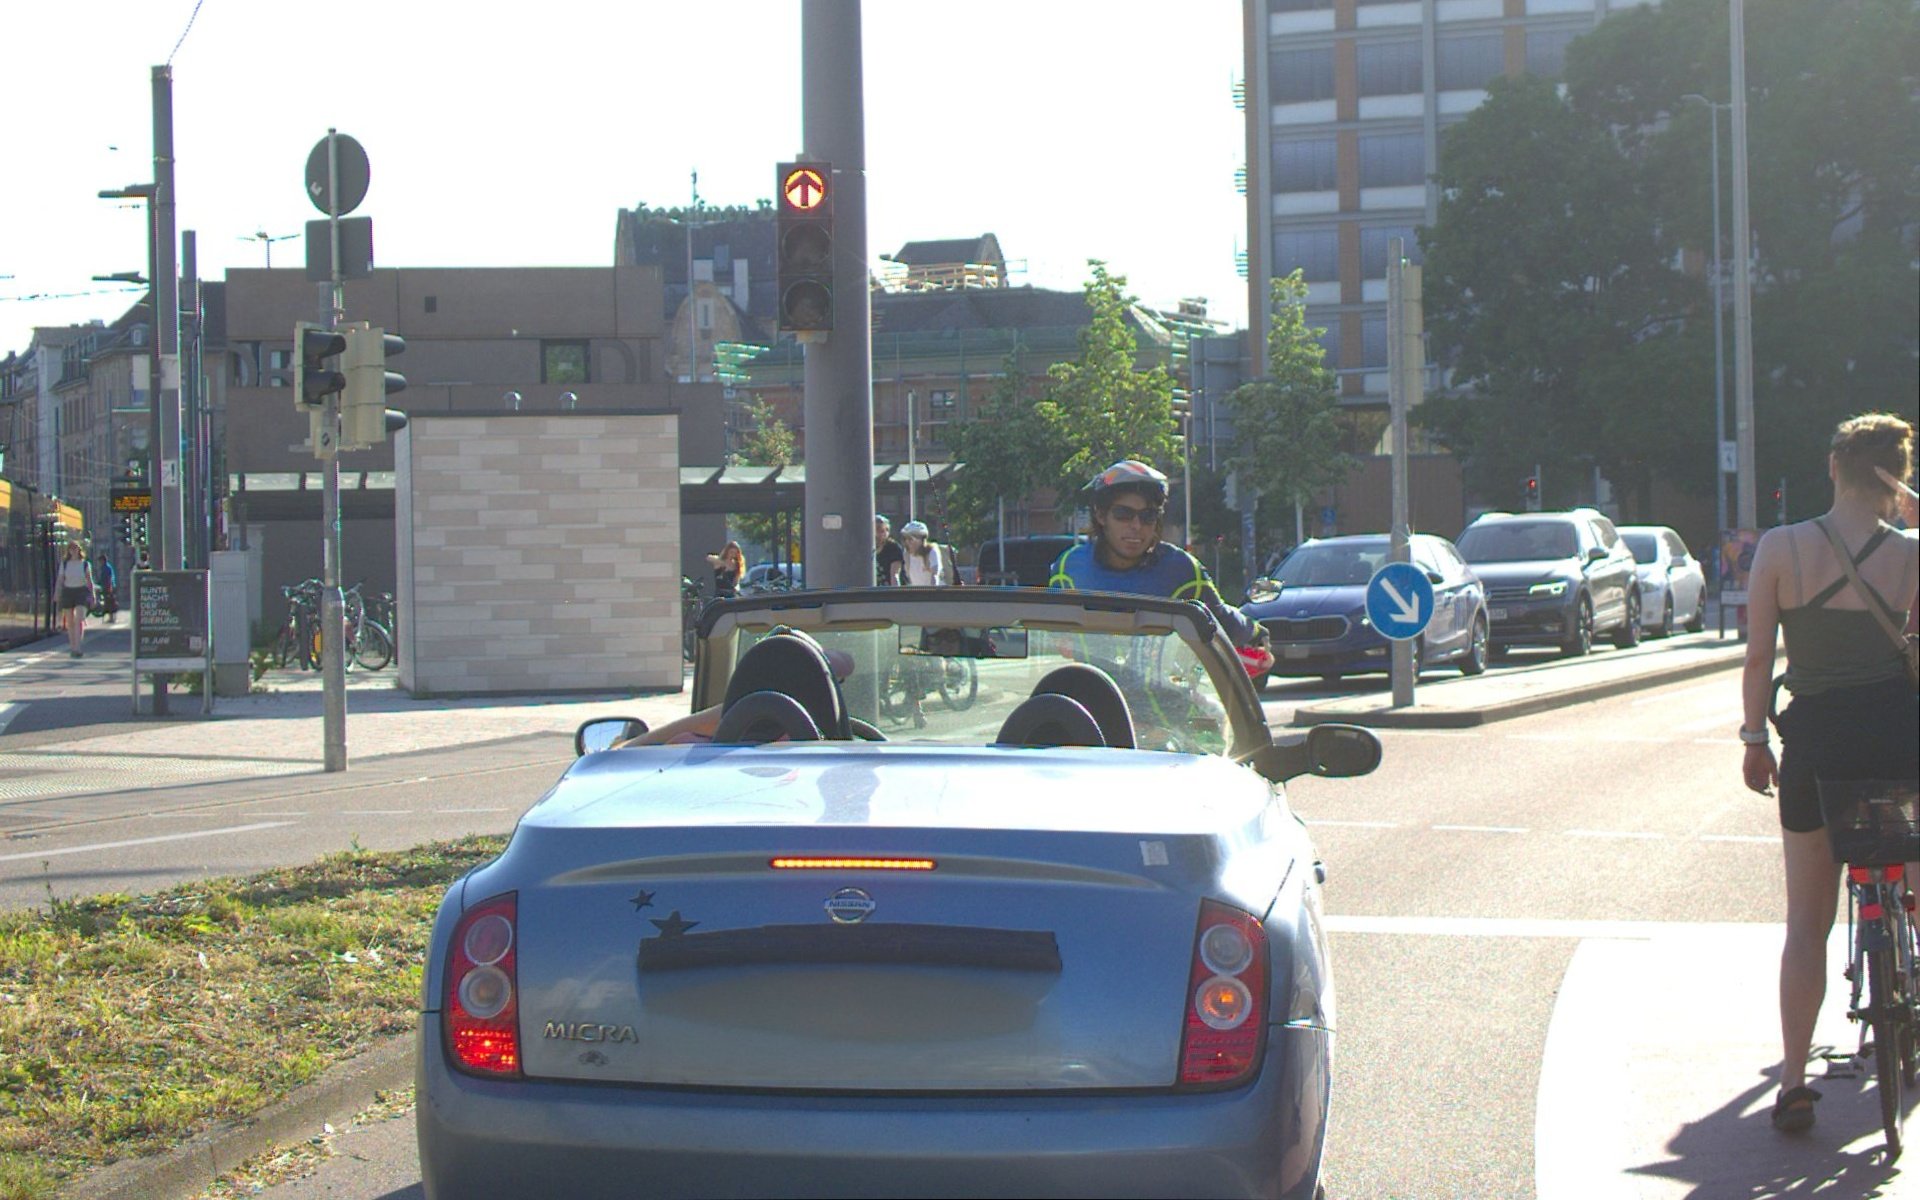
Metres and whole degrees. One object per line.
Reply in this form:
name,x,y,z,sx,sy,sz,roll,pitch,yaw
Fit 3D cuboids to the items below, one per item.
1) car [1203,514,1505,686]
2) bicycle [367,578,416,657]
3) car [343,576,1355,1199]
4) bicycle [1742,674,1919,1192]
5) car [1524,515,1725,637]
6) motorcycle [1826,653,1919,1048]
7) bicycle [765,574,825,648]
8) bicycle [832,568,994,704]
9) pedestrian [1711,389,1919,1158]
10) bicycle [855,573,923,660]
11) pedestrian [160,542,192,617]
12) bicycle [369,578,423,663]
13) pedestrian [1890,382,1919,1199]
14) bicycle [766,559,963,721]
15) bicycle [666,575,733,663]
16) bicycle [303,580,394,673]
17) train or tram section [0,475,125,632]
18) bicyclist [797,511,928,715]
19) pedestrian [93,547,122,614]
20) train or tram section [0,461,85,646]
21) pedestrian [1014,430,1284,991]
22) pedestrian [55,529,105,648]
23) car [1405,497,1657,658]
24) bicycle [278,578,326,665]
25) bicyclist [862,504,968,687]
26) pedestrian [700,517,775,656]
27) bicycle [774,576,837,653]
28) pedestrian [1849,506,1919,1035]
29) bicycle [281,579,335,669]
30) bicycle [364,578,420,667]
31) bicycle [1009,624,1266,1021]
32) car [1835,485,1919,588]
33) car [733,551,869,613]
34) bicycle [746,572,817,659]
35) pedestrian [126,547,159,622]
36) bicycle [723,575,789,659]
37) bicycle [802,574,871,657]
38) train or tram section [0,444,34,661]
car,3.914,-0.013,33.633,1.739,1.568,3.919,1,1,25
bicycle,-8.331,0.245,50.338,0.606,1.111,1.897,1,1,-12
car,0.032,0.678,7.692,1.660,1.436,4.153,1,1,6
bicycle,2.367,0.798,8.976,0.564,1.147,1.948,1,1,14
car,9.000,-0.347,46.329,1.697,1.555,3.974,-1,1,25
motorcycle,3.172,0.746,11.079,0.614,1.094,2.358,1,1,17
bicycle,-2.562,0.162,53.242,0.606,1.111,1.897,1,1,-12
bicycle,-0.408,0.311,31.465,0.675,1.176,2.181,-1,1,22
pedestrian,2.286,0.415,8.784,0.659,1.862,0.872,1,0,15
bicycle,-0.947,0.208,45.566,0.606,1.111,1.897,1,1,-10
pedestrian,-18.590,-0.487,81.509,0.637,1.743,0.736,-1,1,-19
bicycle,-7.629,0.267,46.464,0.606,1.111,1.897,1,1,-12
pedestrian,2.488,0.457,7.397,0.806,1.862,0.956,1,0,8
bicycle,-0.774,0.314,28.852,0.675,1.246,2.454,-3,0,22
bicycle,-3.431,0.237,45.122,0.606,1.111,1.897,1,1,-12
bicycle,-7.546,0.318,42.465,0.607,1.111,1.896,1,1,5
train or tram section,-22.578,-1.139,84.596,3.039,3.584,12.055,1,1,-9
bicyclist,-0.814,0.099,28.780,0.709,1.651,0.900,-3,0,22
pedestrian,-22.296,-0.513,89.925,0.604,1.743,0.832,-1,1,-8
train or tram section,-20.510,-0.991,72.669,3.011,3.584,12.203,1,1,-10
pedestrian,0.673,0.361,11.964,0.833,1.862,0.920,1,0,8
pedestrian,-13.033,-0.176,50.930,0.637,1.743,0.572,-1,1,-19
car,6.660,-0.287,39.729,1.763,1.700,4.525,-2,0,24
bicycle,-8.800,0.276,45.994,0.606,1.111,1.897,1,1,-11
bicyclist,-0.409,-0.046,31.487,0.709,1.651,0.742,-1,1,22
pedestrian,-3.023,-0.189,46.758,0.900,1.862,0.687,1,0,-12
bicycle,-2.314,0.208,51.271,0.606,1.111,1.897,1,1,-12
pedestrian,3.132,0.512,10.813,0.588,1.593,1.024,1,0,17
bicycle,-8.366,0.301,44.069,0.606,1.111,1.897,1,1,-12
bicycle,-7.340,0.279,44.400,0.606,1.111,1.897,1,1,-12
bicycle,0.657,0.700,11.901,0.608,1.187,2.414,1,1,9
car,19.171,-1.262,67.530,1.913,1.938,4.695,-1,1,41
car,-4.123,-0.456,88.687,1.640,1.555,3.599,-2,1,-39
bicycle,-2.357,0.192,45.263,0.606,1.111,1.897,1,1,-12
pedestrian,-19.244,-0.363,80.932,0.637,1.743,0.736,-1,1,-19
bicycle,-2.808,0.225,47.195,0.606,1.111,1.897,1,1,-12
bicycle,-1.721,0.204,47.583,0.606,1.111,1.897,1,1,-12
train or tram section,-18.167,-0.851,60.679,2.880,3.584,12.203,1,1,-12
